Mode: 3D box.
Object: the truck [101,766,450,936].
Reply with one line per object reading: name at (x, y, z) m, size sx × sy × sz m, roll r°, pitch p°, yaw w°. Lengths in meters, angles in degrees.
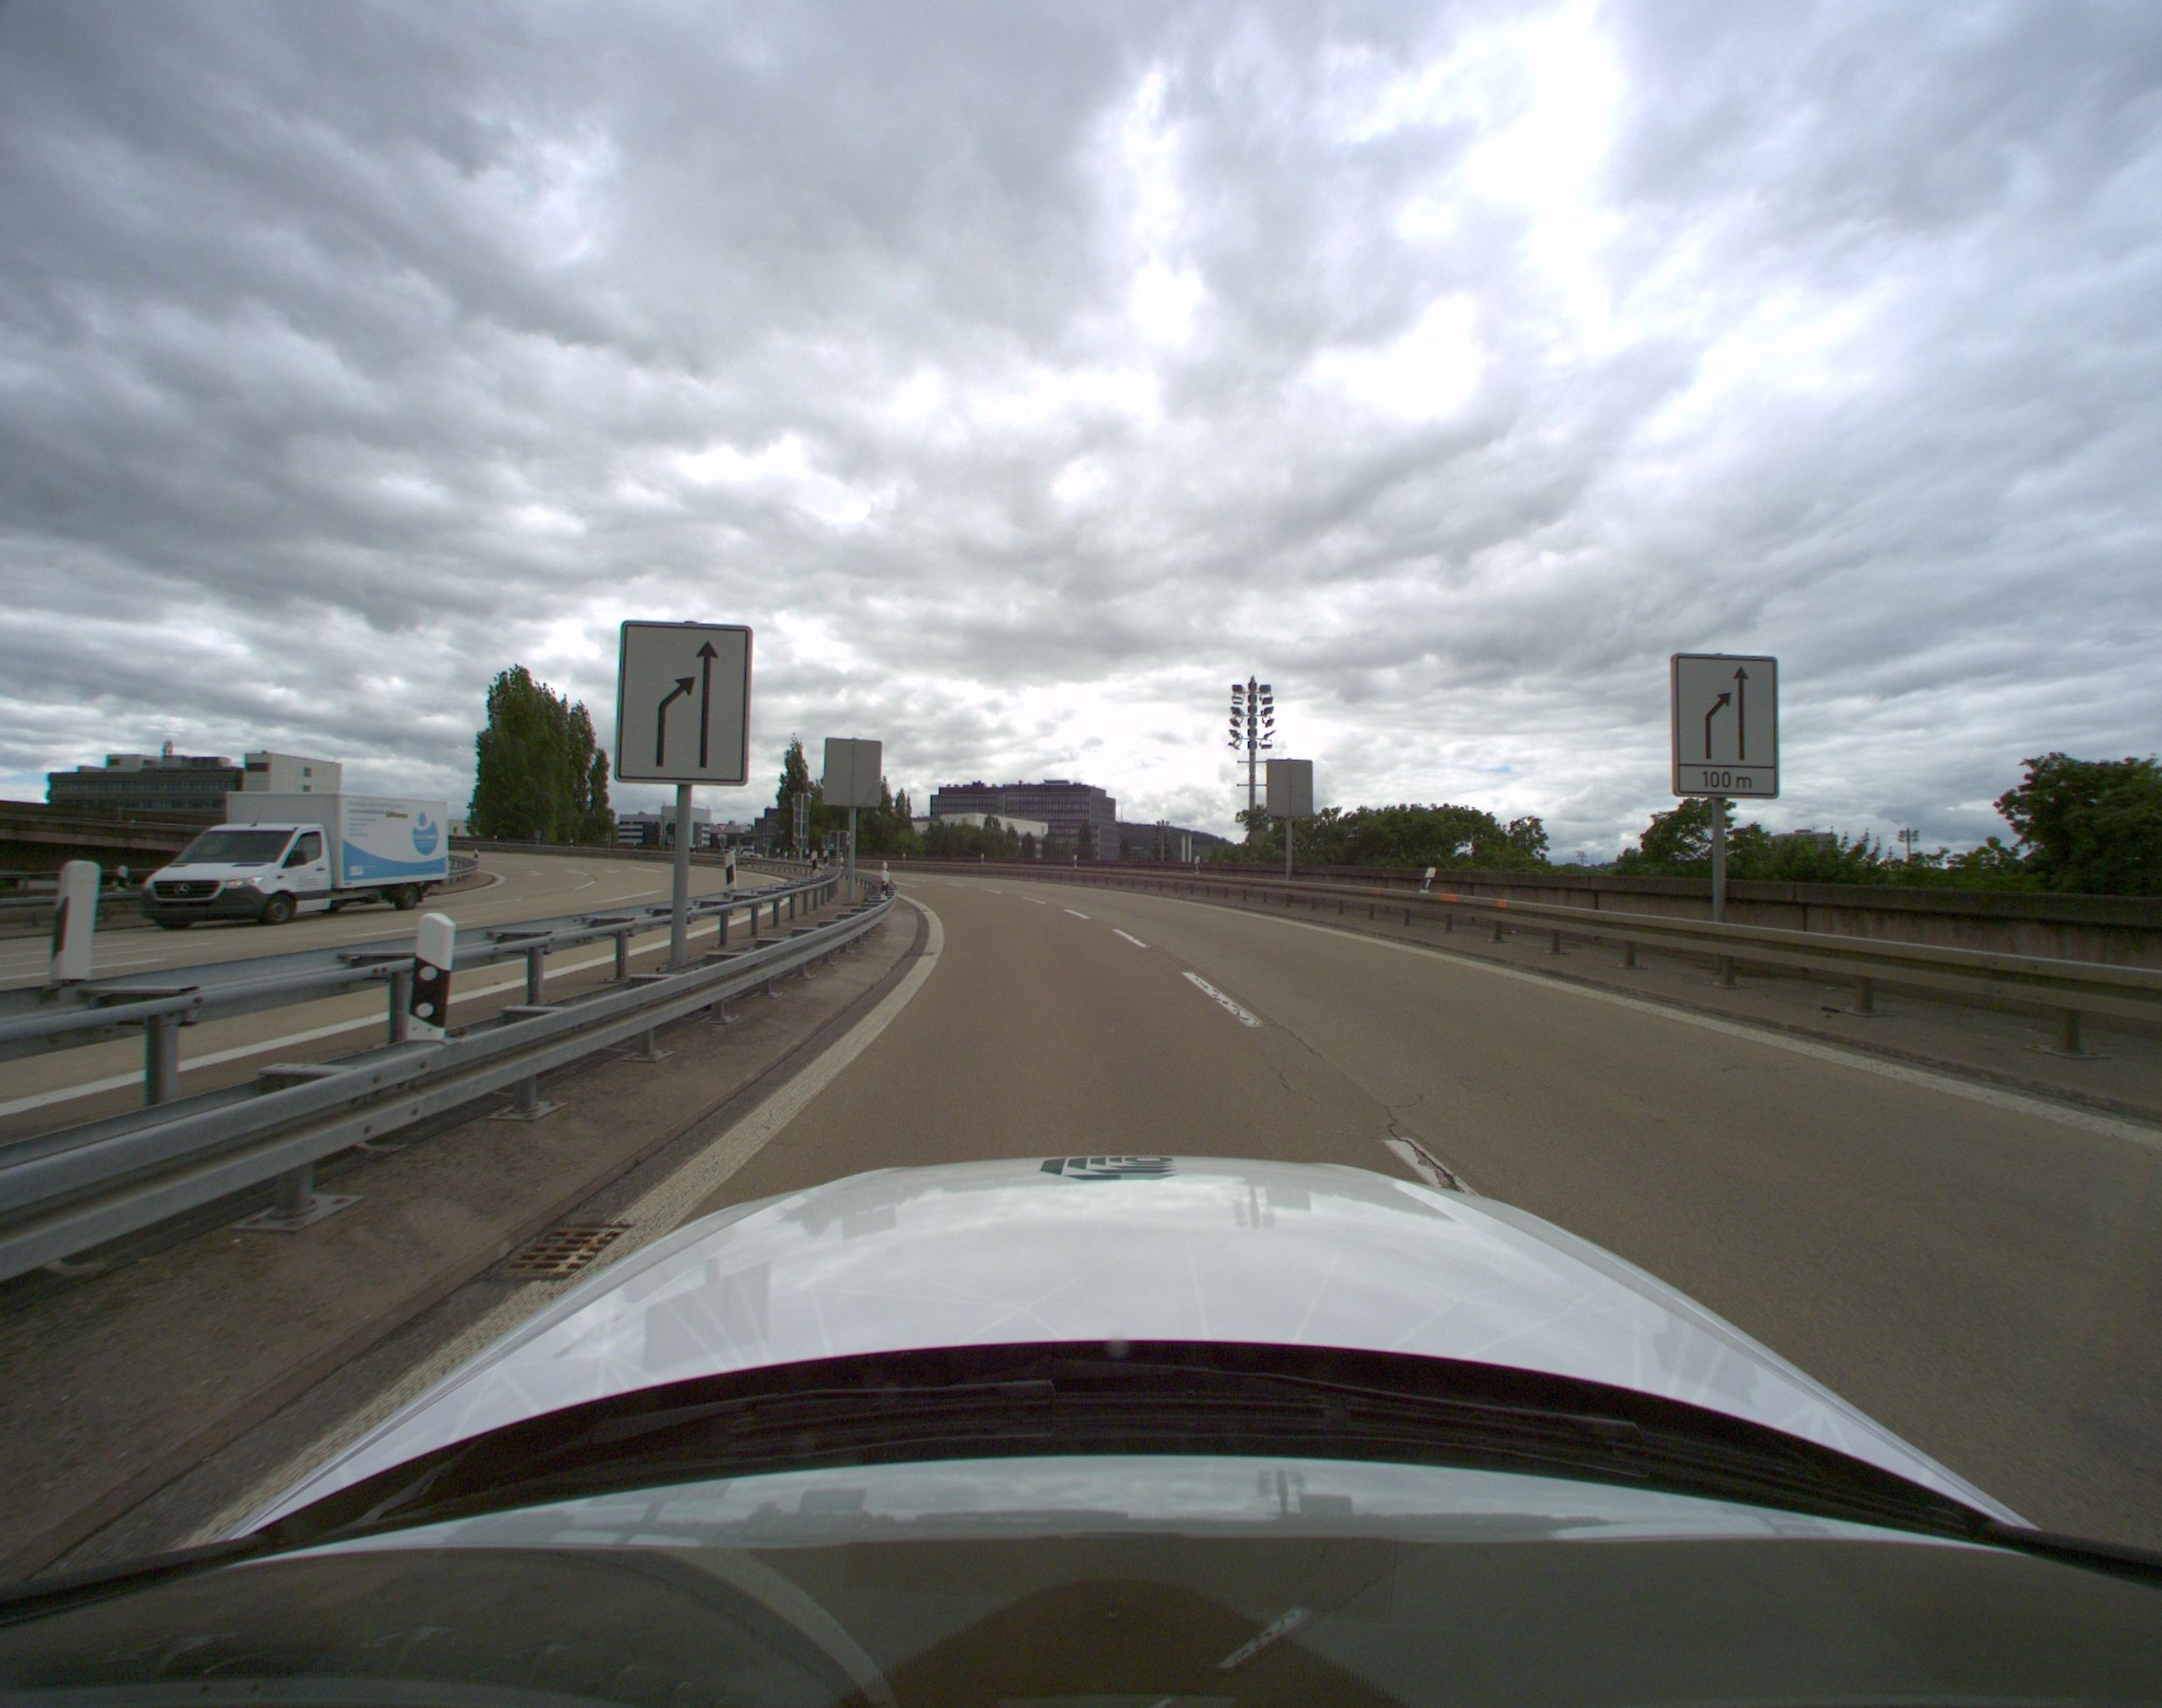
truck at (-18.487, -0.080, 19.478) m, size 2.346 × 3.263 × 6.968 m, roll -2°, pitch 0°, yaw -11°
